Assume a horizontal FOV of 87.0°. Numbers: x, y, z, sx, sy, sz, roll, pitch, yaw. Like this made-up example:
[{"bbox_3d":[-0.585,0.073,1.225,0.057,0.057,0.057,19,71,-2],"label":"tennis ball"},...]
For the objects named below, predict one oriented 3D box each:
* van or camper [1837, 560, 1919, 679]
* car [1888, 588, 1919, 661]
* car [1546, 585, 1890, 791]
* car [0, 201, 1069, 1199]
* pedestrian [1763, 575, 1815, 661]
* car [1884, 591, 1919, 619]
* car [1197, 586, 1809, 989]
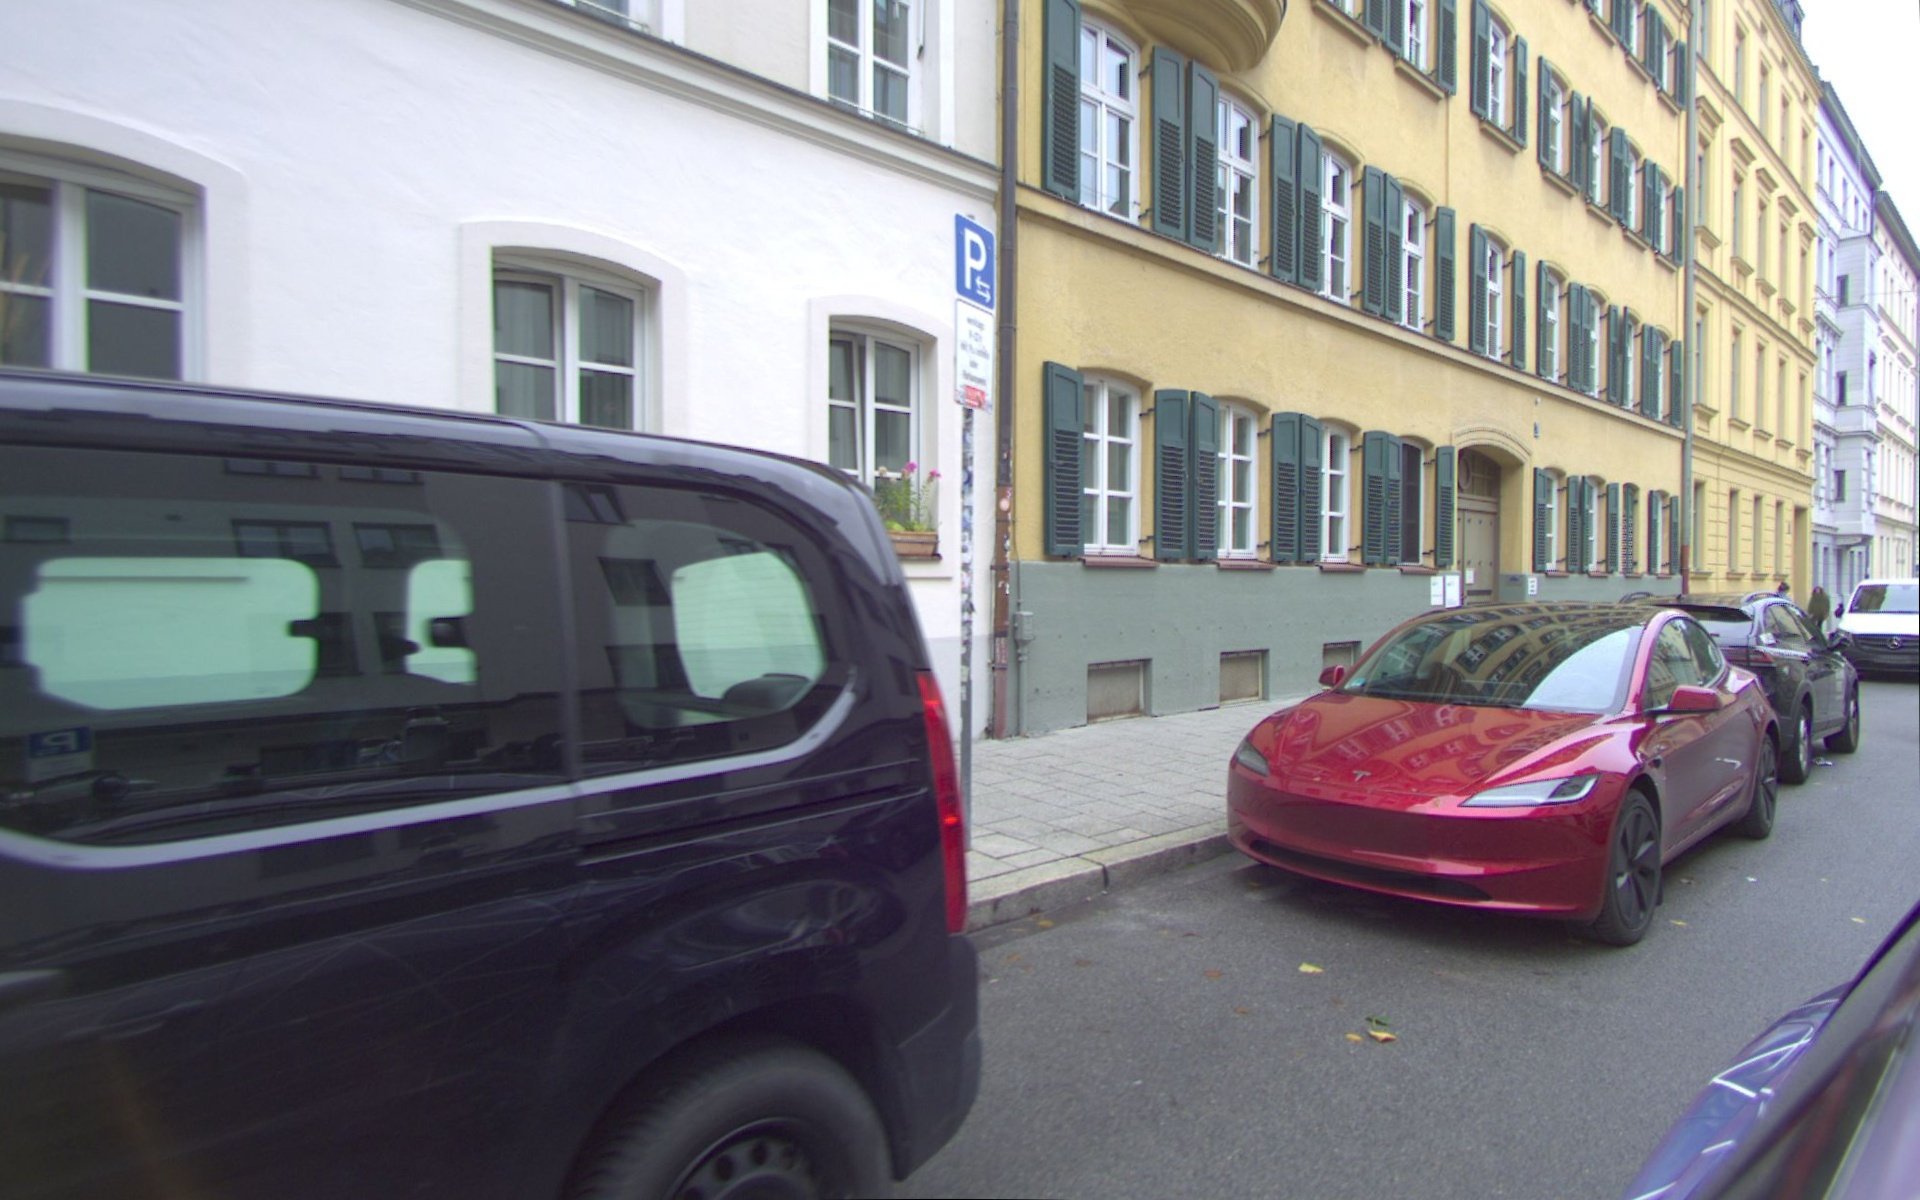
[{"bbox_3d":[18.354,0.326,19.162,5.143,2.039,1.997,0,1,-42],"label":"van or camper"},{"bbox_3d":[22.056,0.519,22.449,4.510,1.528,1.818,0,1,-43],"label":"car"},{"bbox_3d":[7.111,0.630,9.357,3.930,1.482,1.749,0,1,-41],"label":"car"},{"bbox_3d":[-1.949,0.494,1.488,4.127,1.799,1.850,-1,-1,-40],"label":"car"},{"bbox_3d":[16.622,0.348,20.285,0.881,1.658,0.598,0,3,-43],"label":"pedestrian"},{"bbox_3d":[55.926,0.302,58.224,1.684,1.585,3.991,0,1,-43],"label":"car"},{"bbox_3d":[3.349,0.647,5.777,4.382,1.441,1.716,-1,1,-42],"label":"car"}]
